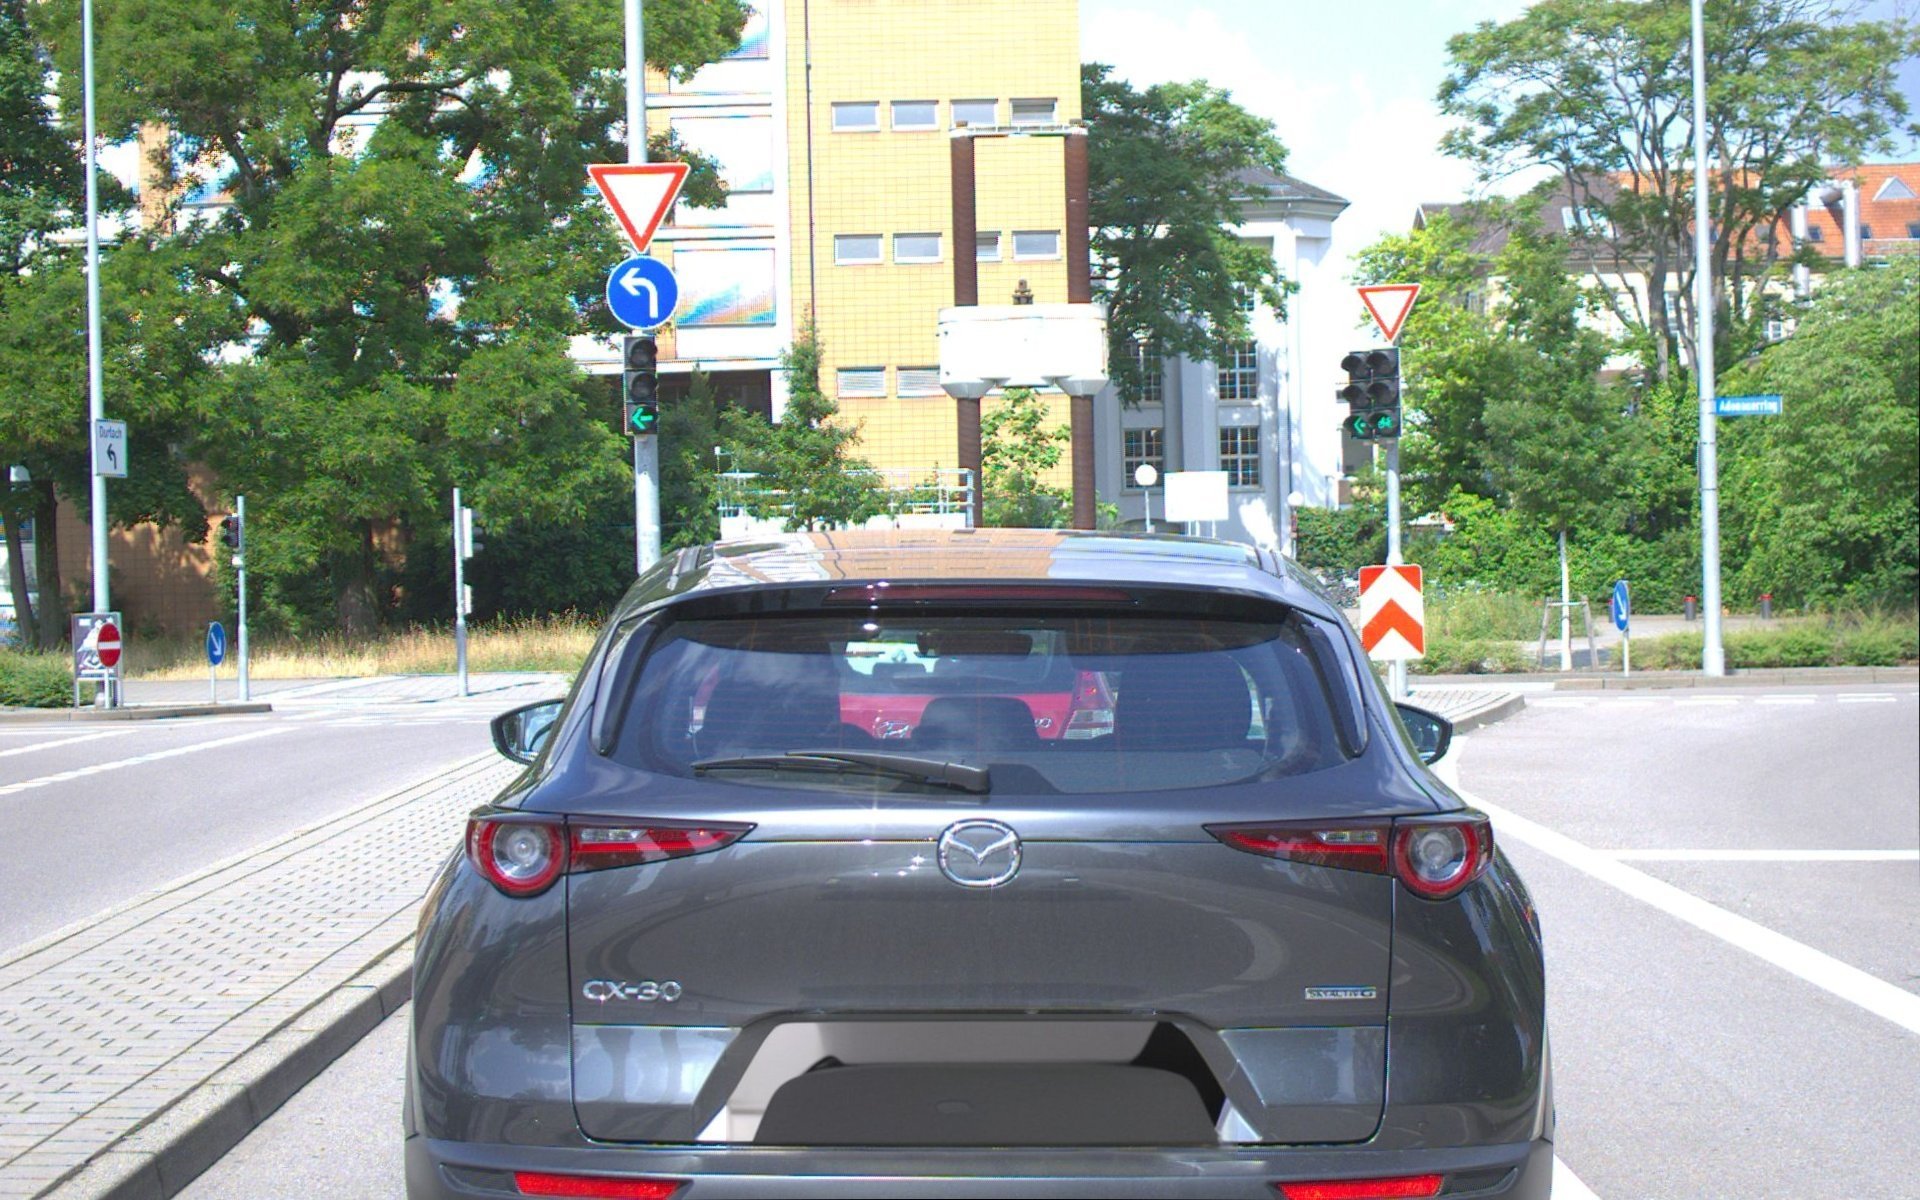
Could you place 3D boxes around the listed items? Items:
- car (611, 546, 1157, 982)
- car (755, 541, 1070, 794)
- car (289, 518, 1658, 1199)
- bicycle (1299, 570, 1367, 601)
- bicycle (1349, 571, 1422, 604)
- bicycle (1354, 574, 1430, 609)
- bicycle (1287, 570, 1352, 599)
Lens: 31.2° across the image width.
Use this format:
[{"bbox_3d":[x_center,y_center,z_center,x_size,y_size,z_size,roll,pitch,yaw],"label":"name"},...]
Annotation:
[{"bbox_3d":[-0.207,0.532,13.595,1.816,1.434,4.067,1,1,1],"label":"car"},{"bbox_3d":[-0.264,0.385,22.758,1.848,1.467,4.335,-2,1,1],"label":"car"},{"bbox_3d":[-0.012,0.634,6.692,1.806,1.503,4.205,1,1,-1],"label":"car"},{"bbox_3d":[11.993,-0.471,110.549,2.055,0.933,0.804,-1,0,-1],"label":"bicycle"},{"bbox_3d":[12.659,-0.382,102.353,2.055,0.933,0.804,-1,0,-1],"label":"bicycle"},{"bbox_3d":[12.358,-0.250,98.356,2.055,0.933,0.804,-1,0,-1],"label":"bicycle"},{"bbox_3d":[12.055,-0.521,115.408,2.055,0.933,0.804,-1,0,-1],"label":"bicycle"}]
